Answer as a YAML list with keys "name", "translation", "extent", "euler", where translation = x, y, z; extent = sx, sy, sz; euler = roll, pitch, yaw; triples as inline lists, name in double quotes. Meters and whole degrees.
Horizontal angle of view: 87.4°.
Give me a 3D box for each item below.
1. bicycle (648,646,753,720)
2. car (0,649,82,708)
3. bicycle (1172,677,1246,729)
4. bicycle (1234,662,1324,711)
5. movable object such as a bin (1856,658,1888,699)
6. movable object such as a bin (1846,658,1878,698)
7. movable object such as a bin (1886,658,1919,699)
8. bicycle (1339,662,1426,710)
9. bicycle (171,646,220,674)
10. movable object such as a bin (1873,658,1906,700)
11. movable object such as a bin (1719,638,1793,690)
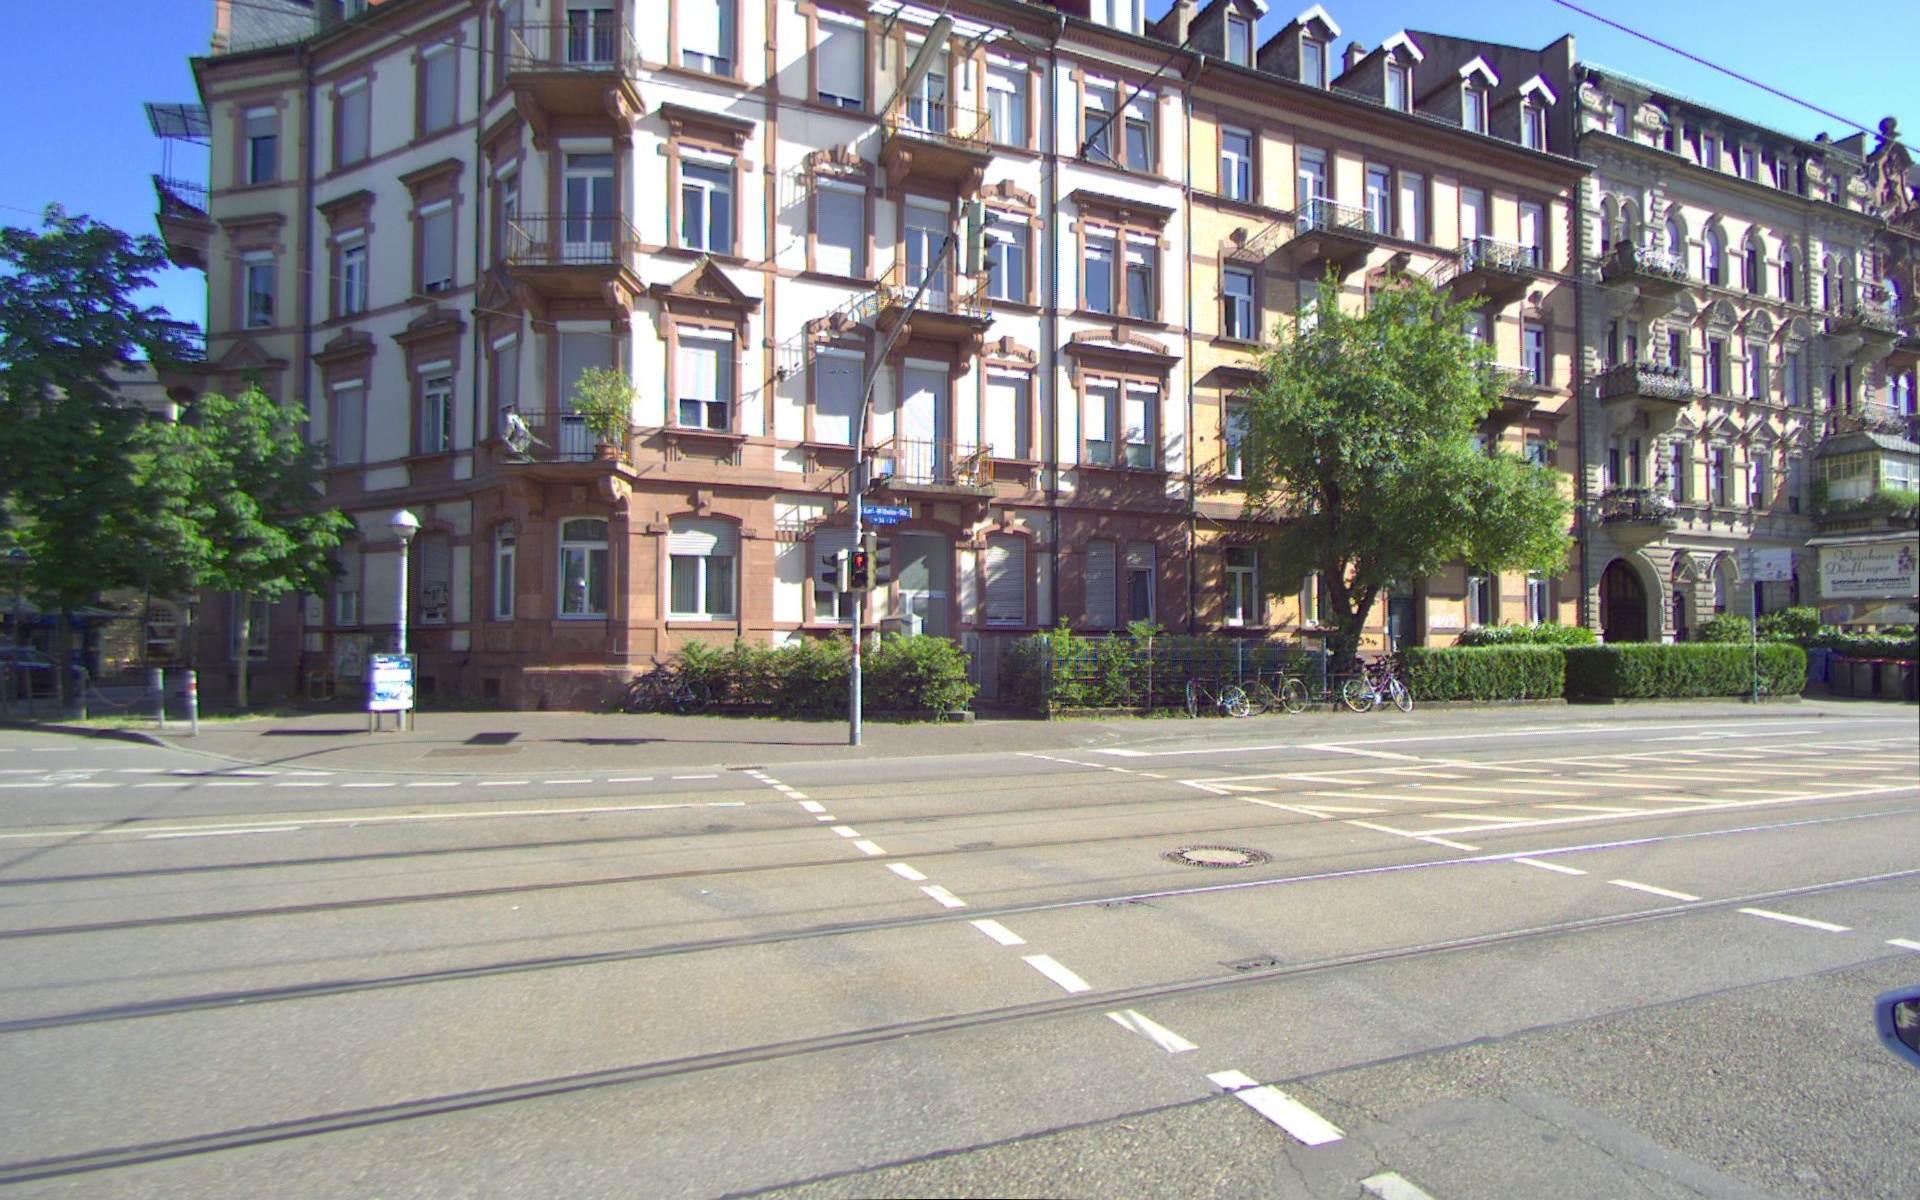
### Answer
- name: "bicycle"
  translation: [-4.864, 1.532, 18.802]
  extent: [2.005, 1.313, 0.420]
  euler: [0, -1, 19]
- name: "car"
  translation: [-26.577, 2.145, 28.109]
  extent: [1.552, 1.461, 3.447]
  euler: [1, -1, -13]
- name: "bicycle"
  translation: [4.779, 1.962, 19.261]
  extent: [1.429, 0.938, 0.341]
  euler: [1, -1, -19]
- name: "bicycle"
  translation: [6.463, 1.739, 20.340]
  extent: [1.912, 0.938, 0.341]
  euler: [1, -1, -19]
- name: "movable object such as a bin"
  translation: [25.550, 2.186, 28.128]
  extent: [0.533, 1.100, 0.478]
  euler: [1, -1, -21]
- name: "movable object such as a bin"
  translation: [25.025, 2.157, 27.867]
  extent: [0.533, 1.100, 0.478]
  euler: [1, -1, -21]
- name: "movable object such as a bin"
  translation: [25.849, 2.149, 27.558]
  extent: [0.533, 1.100, 0.478]
  euler: [1, -1, -21]
- name: "bicycle"
  translation: [8.726, 1.766, 20.712]
  extent: [1.912, 0.938, 0.341]
  euler: [1, -1, -19]
- name: "bicycle"
  translation: [-28.537, 2.239, 37.535]
  extent: [0.563, 1.005, 1.549]
  euler: [0, -1, 3]
- name: "movable object such as a bin"
  translation: [25.270, 2.149, 27.315]
  extent: [0.533, 1.100, 0.478]
  euler: [1, -1, -21]
- name: "movable object such as a bin"
  translation: [23.566, 1.872, 29.749]
  extent: [1.153, 1.466, 1.317]
  euler: [1, -1, -21]
